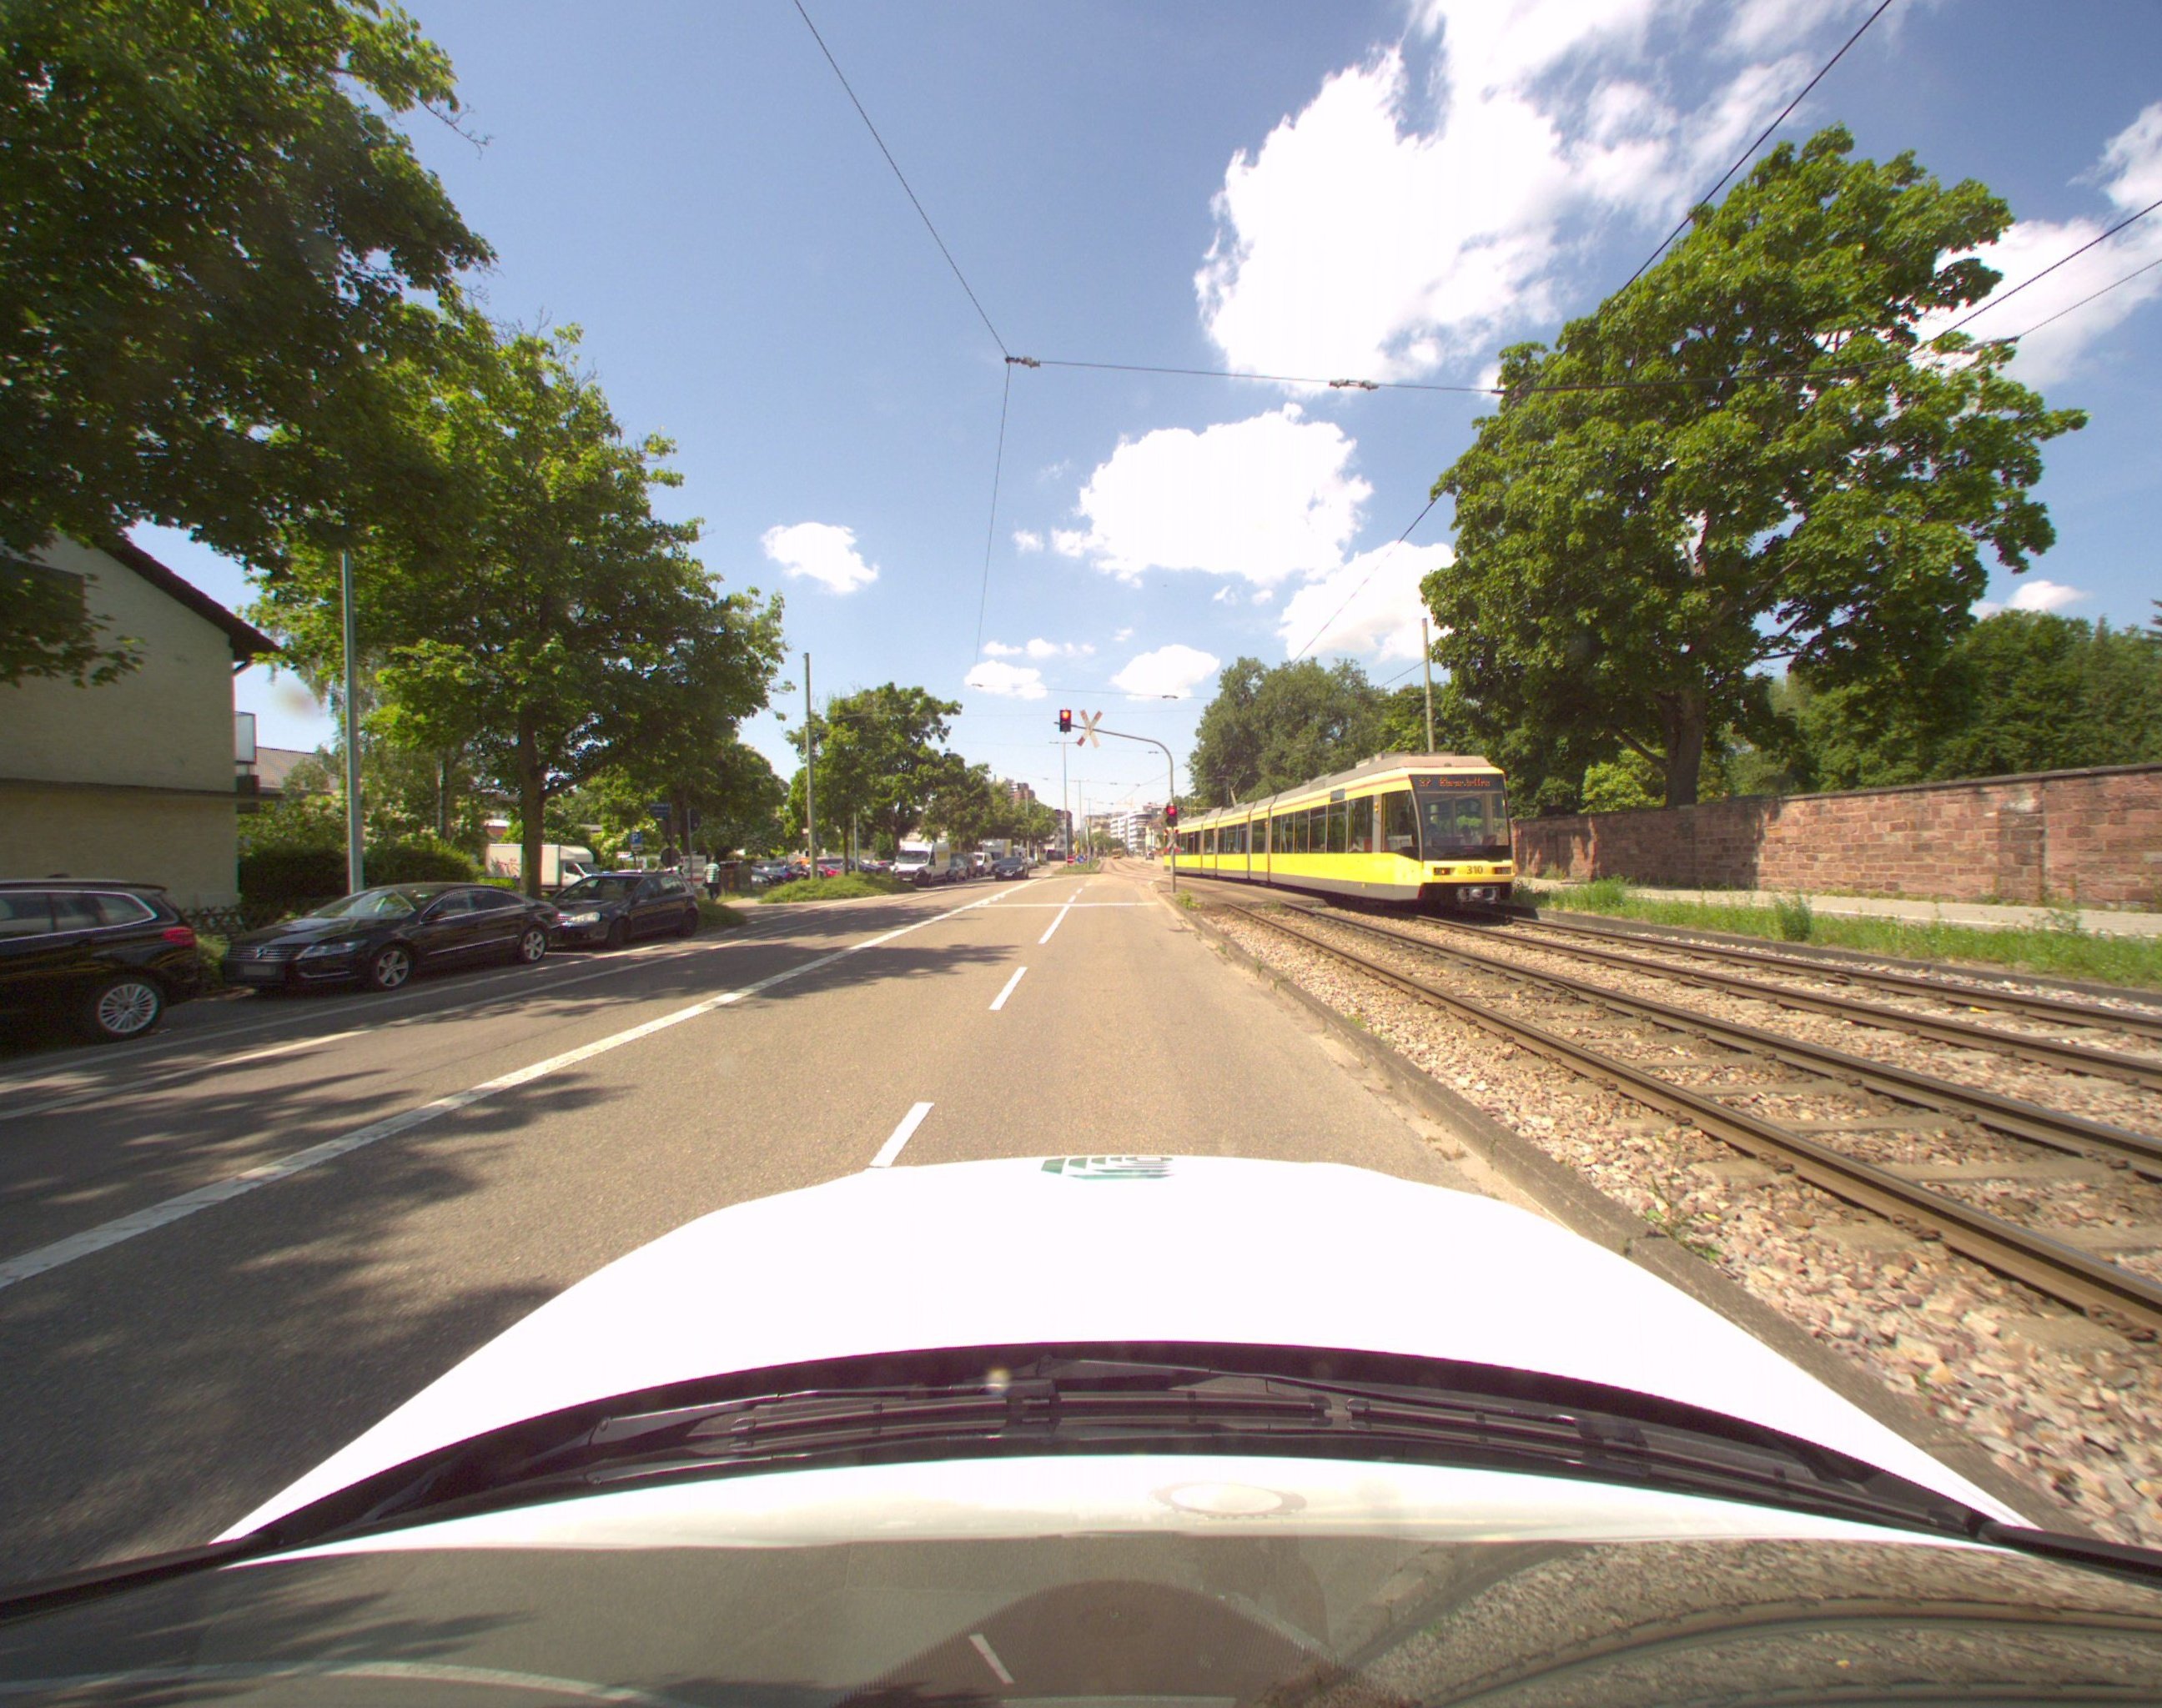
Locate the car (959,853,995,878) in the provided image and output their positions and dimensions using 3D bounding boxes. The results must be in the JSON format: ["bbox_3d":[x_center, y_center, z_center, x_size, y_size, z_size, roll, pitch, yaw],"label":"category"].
[{"bbox_3d":[-8.443,0.889,66.436,2.053,1.898,4.874,-2,0,2],"label":"car"}]

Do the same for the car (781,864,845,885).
[{"bbox_3d":[-19.385,1.460,59.041,3.973,1.339,1.805,-2,0,0],"label":"car"}]

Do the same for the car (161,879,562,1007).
[{"bbox_3d":[-10.171,1.142,12.168,1.769,1.373,4.696,0,0,0],"label":"car"}]

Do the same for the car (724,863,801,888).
[{"bbox_3d":[-19.673,1.308,50.381,3.973,1.339,1.805,-2,0,0],"label":"car"}]

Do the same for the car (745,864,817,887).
[{"bbox_3d":[-19.690,1.421,53.533,3.973,1.339,1.805,-2,0,0],"label":"car"}]

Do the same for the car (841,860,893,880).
[{"bbox_3d":[-18.769,1.414,71.510,3.973,1.606,1.805,-2,0,0],"label":"car"}]

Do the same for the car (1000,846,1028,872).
[{"bbox_3d":[-7.390,0.536,90.119,2.147,2.639,5.618,-2,0,4],"label":"car"}]

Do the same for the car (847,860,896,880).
[{"bbox_3d":[-19.096,1.437,74.290,3.973,1.606,1.805,-2,0,0],"label":"car"}]

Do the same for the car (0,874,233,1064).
[{"bbox_3d":[-10.313,1.035,6.712,1.769,1.604,4.637,0,0,0],"label":"car"}]

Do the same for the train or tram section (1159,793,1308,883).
[{"bbox_3d":[7.269,-0.693,43.665,2.937,3.692,20.256,-1,0,-4],"label":"train or tram section"}]

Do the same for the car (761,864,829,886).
[{"bbox_3d":[-19.804,1.431,56.486,3.973,1.339,1.805,-2,0,0],"label":"car"}]

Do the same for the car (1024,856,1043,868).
[{"bbox_3d":[-6.523,1.100,111.358,2.053,1.582,4.874,-2,0,2],"label":"car"}]

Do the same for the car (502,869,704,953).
[{"bbox_3d":[-9.851,1.097,17.210,1.768,1.481,4.049,0,0,2],"label":"car"}]

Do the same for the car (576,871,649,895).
[{"bbox_3d":[-32.727,2.019,56.963,3.973,1.442,1.805,-2,0,0],"label":"car"}]

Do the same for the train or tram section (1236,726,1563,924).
[{"bbox_3d":[7.717,-0.586,24.457,2.933,3.692,18.392,-1,0,1],"label":"train or tram section"}]

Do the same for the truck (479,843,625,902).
[{"bbox_3d":[-31.959,1.090,49.339,7.165,3.228,2.332,-2,0,-1],"label":"truck"}]

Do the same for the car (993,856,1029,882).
[{"bbox_3d":[-4.201,0.859,49.396,1.672,1.398,4.005,-4,0,0],"label":"car"}]

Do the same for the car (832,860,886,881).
[{"bbox_3d":[-18.701,1.386,68.652,3.973,1.606,1.805,-2,0,0],"label":"car"}]

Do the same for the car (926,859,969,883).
[{"bbox_3d":[-8.665,1.067,53.216,1.861,1.437,4.345,-2,0,2],"label":"car"}]

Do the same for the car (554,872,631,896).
[{"bbox_3d":[-32.428,1.990,54.146,3.973,1.442,1.805,-2,0,0],"label":"car"}]

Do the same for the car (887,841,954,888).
[{"bbox_3d":[-9.151,0.534,46.944,2.147,2.487,6.200,-1,0,4],"label":"car"}]

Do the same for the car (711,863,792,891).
[{"bbox_3d":[-19.357,1.356,47.955,3.973,1.442,1.805,-2,0,0],"label":"car"}]

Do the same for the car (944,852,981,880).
[{"bbox_3d":[-8.756,0.861,60.473,1.861,1.895,4.273,-2,0,2],"label":"car"}]

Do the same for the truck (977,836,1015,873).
[{"bbox_3d":[-7.749,0.055,75.104,2.147,3.210,7.090,1,0,4],"label":"truck"}]

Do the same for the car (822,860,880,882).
[{"bbox_3d":[-18.154,1.352,64.384,3.973,1.606,1.805,-2,0,0],"label":"car"}]

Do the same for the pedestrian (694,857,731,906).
[{"bbox_3d":[-14.064,1.029,31.089,0.971,1.823,0.794,-2,0,-1],"label":"pedestrian"}]

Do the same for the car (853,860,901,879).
[{"bbox_3d":[-19.202,1.412,76.637,3.973,1.606,1.805,-2,0,0],"label":"car"}]
